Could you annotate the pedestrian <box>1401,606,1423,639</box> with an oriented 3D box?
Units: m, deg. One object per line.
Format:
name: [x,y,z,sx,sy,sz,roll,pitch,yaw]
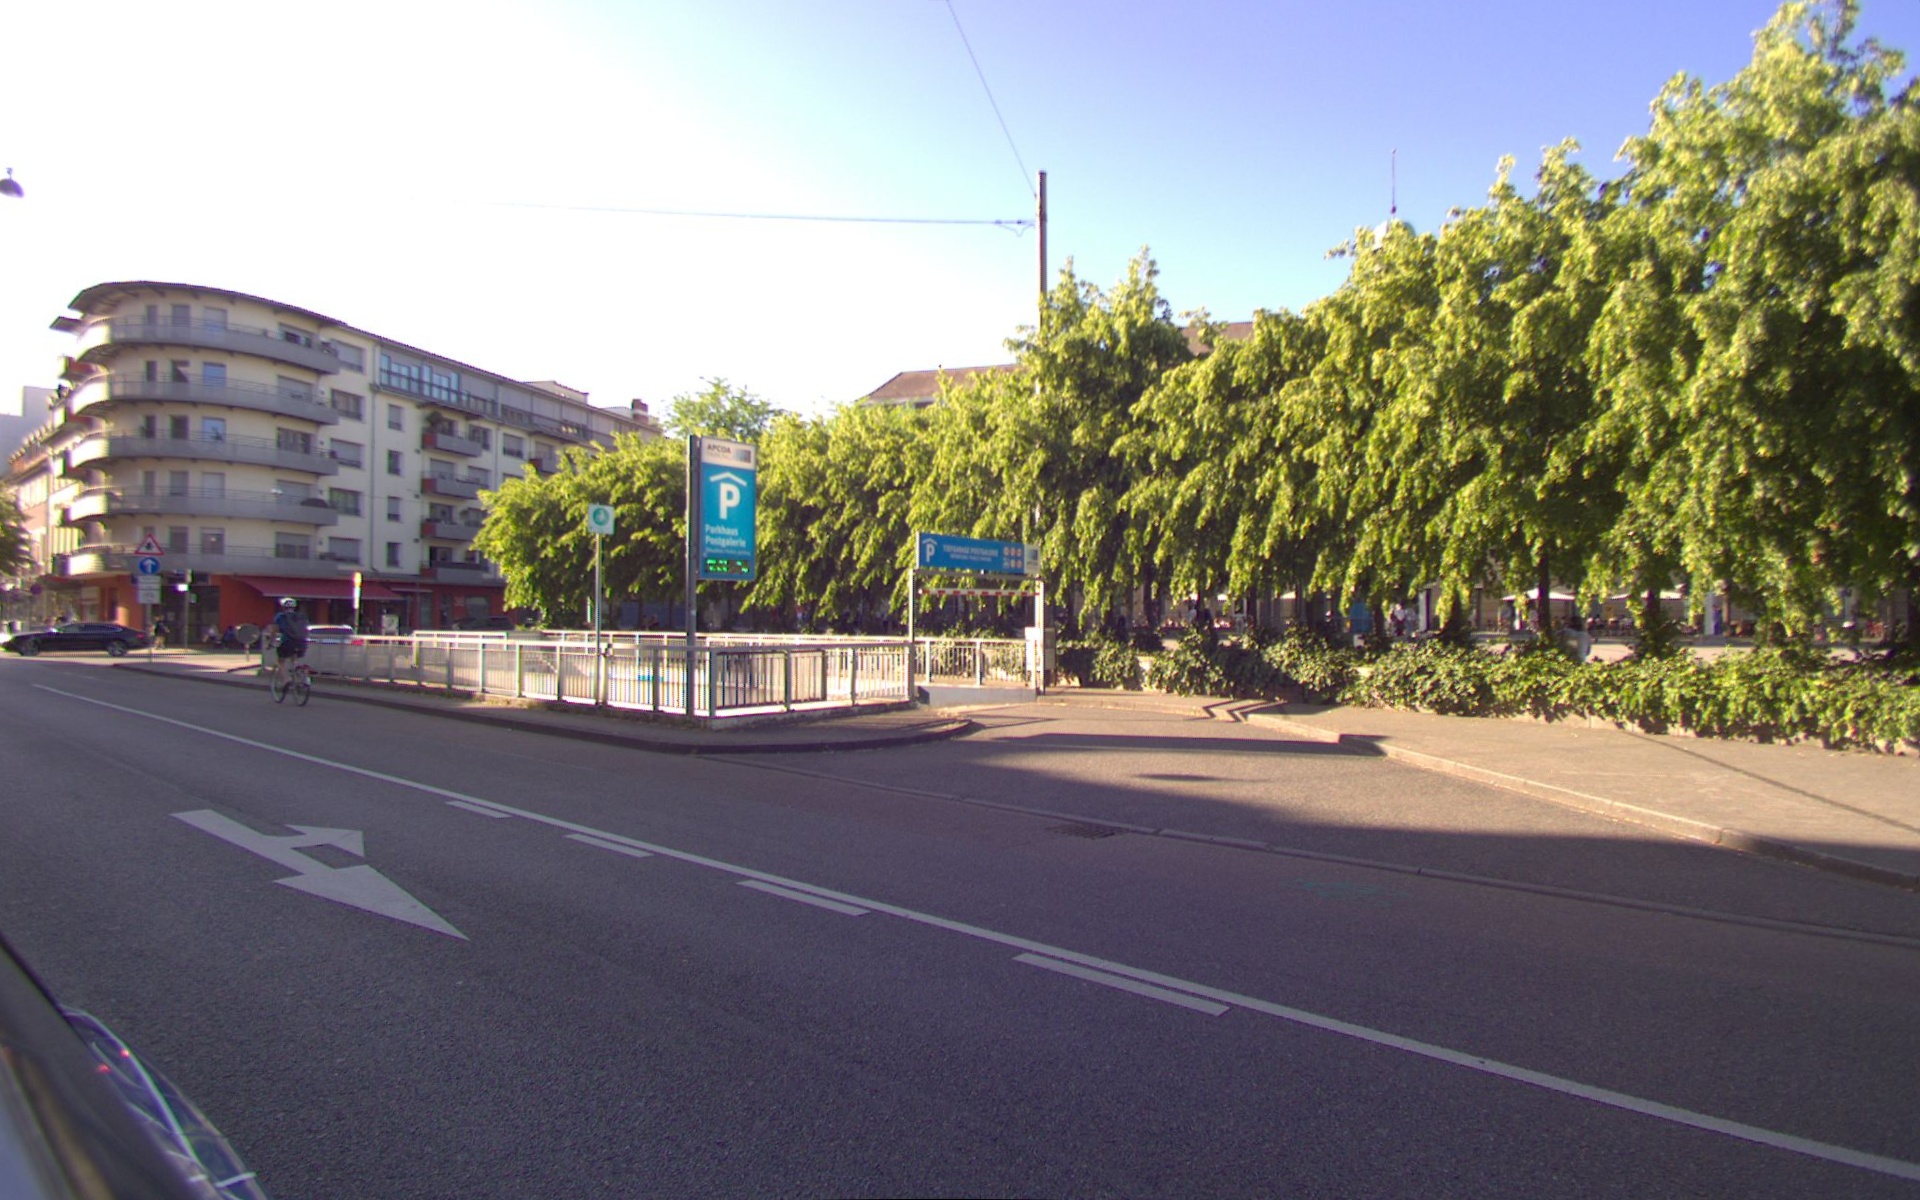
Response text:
pedestrian: [21.327,1.043,47.757,0.672,1.542,0.696,-1,0,-18]

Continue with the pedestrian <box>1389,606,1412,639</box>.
pedestrian: [20.532,1.053,47.216,0.672,1.536,0.696,-1,0,-19]

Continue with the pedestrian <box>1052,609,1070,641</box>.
pedestrian: [4.475,1.106,44.815,0.684,1.385,0.684,-1,0,1]

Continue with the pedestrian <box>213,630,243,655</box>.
pedestrian: [-36.816,2.126,50.894,0.827,1.207,0.931,-1,0,16]

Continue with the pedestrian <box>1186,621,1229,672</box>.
pedestrian: [5.503,1.024,22.559,0.682,1.079,0.686,-1,0,-13]

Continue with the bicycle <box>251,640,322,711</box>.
bicycle: [-12.084,1.317,18.129,1.958,1.171,0.609,-1,-3,44]

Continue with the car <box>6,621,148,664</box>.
car: [-35.896,1.693,41.293,4.180,1.542,1.681,-1,0,-36]

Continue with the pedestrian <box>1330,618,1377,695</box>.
pedestrian: [7.526,1.061,19.344,0.622,1.409,0.644,-1,0,44]

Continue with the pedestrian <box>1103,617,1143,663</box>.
pedestrian: [4.035,0.980,25.058,0.682,1.079,0.686,-1,0,-29]

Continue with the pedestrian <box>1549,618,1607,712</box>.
pedestrian: [9.810,1.012,16.088,0.611,1.447,0.588,-1,0,14]

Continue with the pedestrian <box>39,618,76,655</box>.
pedestrian: [-43.804,1.768,49.130,1.076,1.732,1.058,-1,0,30]

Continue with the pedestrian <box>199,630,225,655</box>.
pedestrian: [-37.637,2.137,50.938,0.882,1.207,0.772,-1,0,30]

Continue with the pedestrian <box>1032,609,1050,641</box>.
pedestrian: [3.580,1.118,44.852,0.752,1.385,0.684,-1,0,1]

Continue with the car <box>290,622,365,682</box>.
car: [-18.667,1.473,29.798,1.612,1.542,3.917,-1,0,-35]

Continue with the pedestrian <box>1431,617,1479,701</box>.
pedestrian: [8.754,1.026,17.897,0.621,1.447,0.645,-1,0,39]

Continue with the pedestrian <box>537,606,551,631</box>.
pedestrian: [-31.228,1.399,75.980,0.684,1.857,0.737,-1,0,41]

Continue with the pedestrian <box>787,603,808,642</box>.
pedestrian: [-8.002,1.098,49.777,0.681,1.857,0.741,-1,0,27]

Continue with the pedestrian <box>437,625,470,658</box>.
pedestrian: [-26.576,2.148,53.096,1.253,1.678,1.141,-1,0,-41]

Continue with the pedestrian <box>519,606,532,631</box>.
pedestrian: [-33.742,1.432,78.572,0.736,1.857,0.685,-1,0,-9]

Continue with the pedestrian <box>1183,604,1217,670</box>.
pedestrian: [5.616,0.854,23.691,0.688,1.511,0.680,-1,0,19]

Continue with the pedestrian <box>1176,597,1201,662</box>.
pedestrian: [5.720,0.716,25.277,0.522,1.594,0.680,-1,0,19]

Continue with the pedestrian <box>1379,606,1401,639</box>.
pedestrian: [20.416,1.055,48.086,0.673,1.535,0.695,-1,0,-7]

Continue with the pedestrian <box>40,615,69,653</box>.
pedestrian: [-46.719,1.757,52.193,0.790,1.934,0.978,-1,0,37]

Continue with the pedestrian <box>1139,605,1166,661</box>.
pedestrian: [4.870,0.836,25.583,0.545,1.385,0.680,-1,0,19]

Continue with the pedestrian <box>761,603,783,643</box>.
pedestrian: [-9.090,1.102,48.928,0.681,1.877,0.741,-1,0,27]

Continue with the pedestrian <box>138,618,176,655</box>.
pedestrian: [-38.933,1.749,49.084,0.952,1.762,1.058,-1,0,10]

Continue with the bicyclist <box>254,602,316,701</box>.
bicyclist: [-12.059,0.906,18.085,0.809,1.722,0.694,-1,-2,38]

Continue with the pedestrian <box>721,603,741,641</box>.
pedestrian: [-11.349,1.102,50.179,0.679,1.857,0.743,-1,0,19]

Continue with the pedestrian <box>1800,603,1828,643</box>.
pedestrian: [33.723,0.889,39.975,0.738,1.542,0.686,-1,0,32]
